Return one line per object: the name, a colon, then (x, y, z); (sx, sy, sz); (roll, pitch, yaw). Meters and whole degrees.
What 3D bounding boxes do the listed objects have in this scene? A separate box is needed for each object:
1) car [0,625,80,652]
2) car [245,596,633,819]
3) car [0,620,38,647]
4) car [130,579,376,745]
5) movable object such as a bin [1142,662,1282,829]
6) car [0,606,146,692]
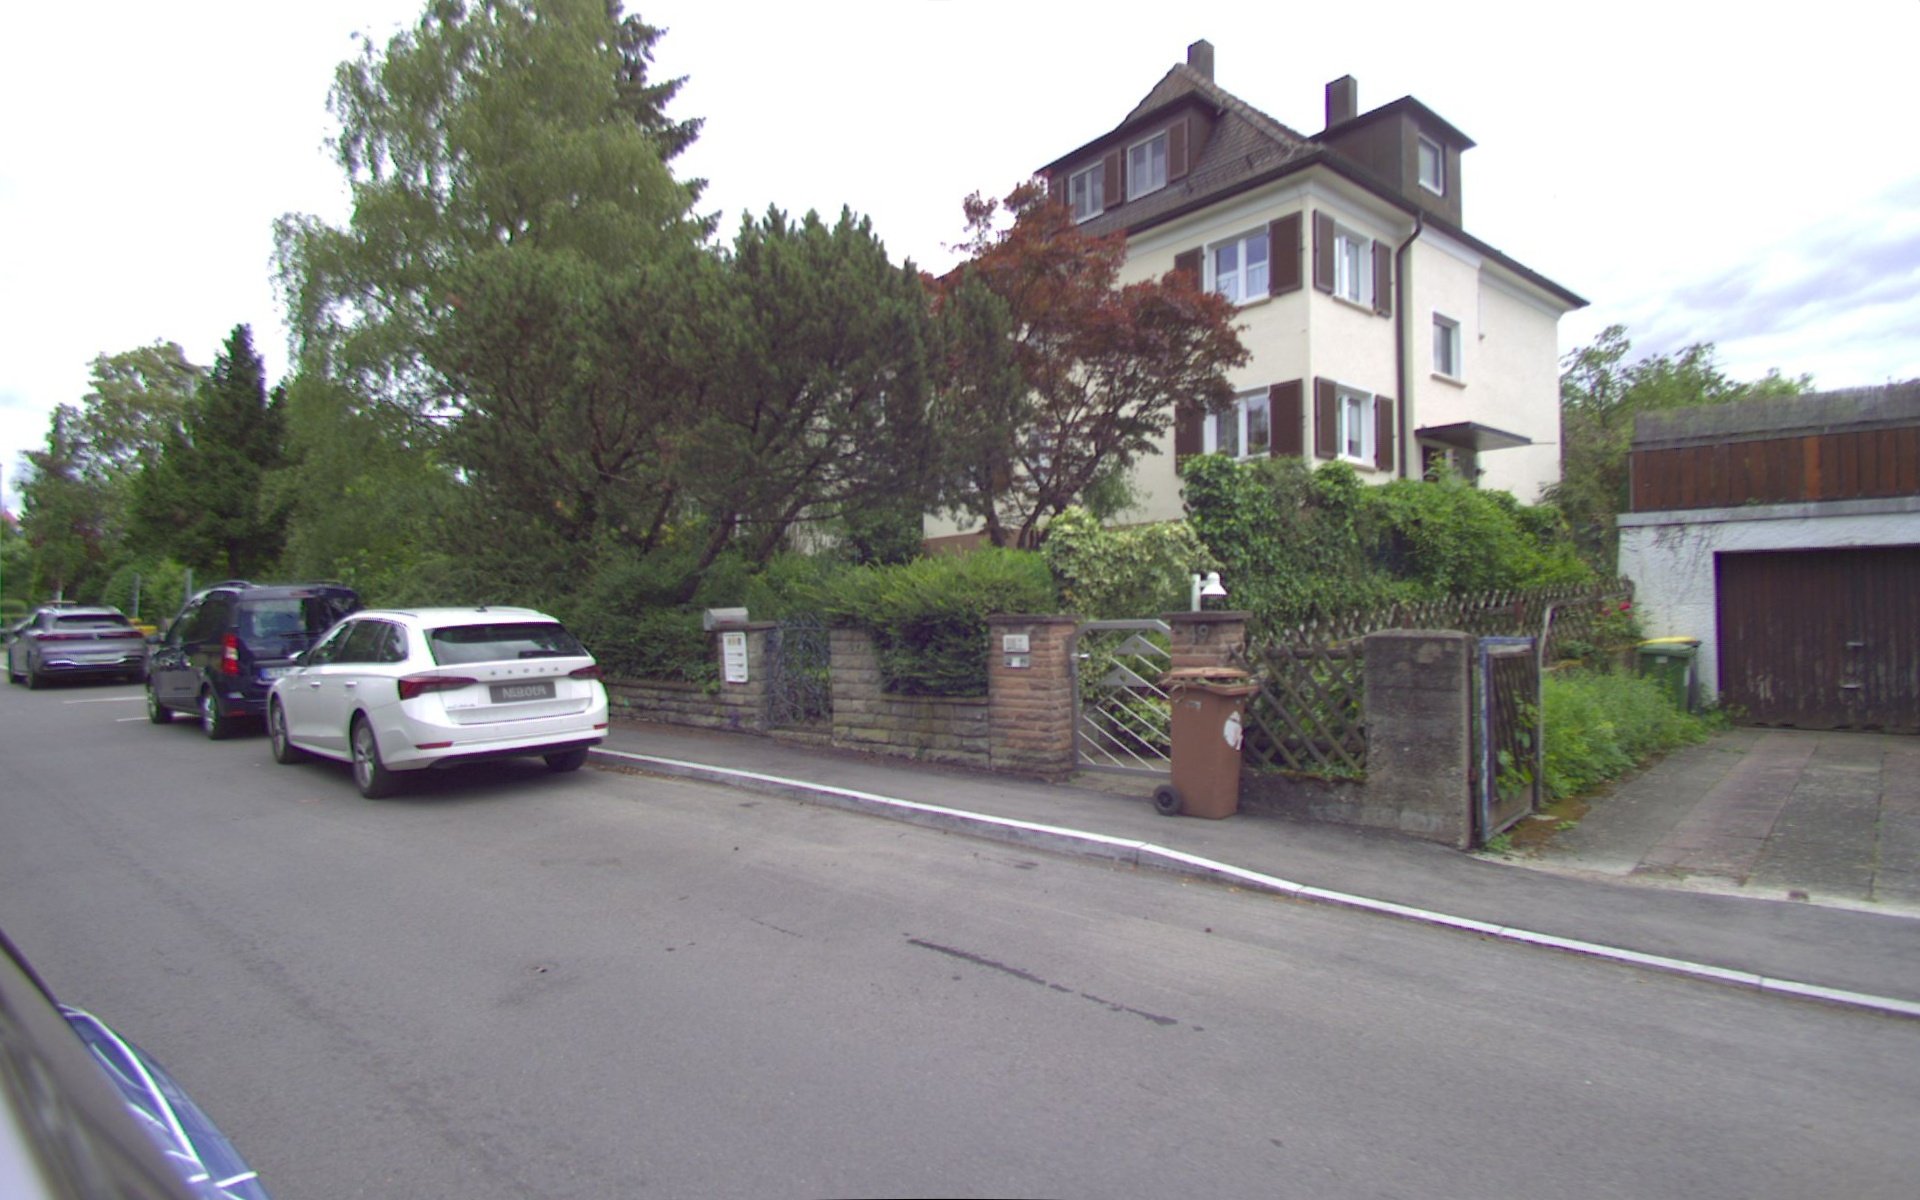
car: (-49.473, 2.041, 53.931); (1.640, 1.324, 3.724); (-1, -1, 42)
car: (-4.887, 0.777, 9.148); (4.554, 1.523, 1.688); (-1, -1, 43)
car: (-57.662, 2.017, 60.521); (3.720, 1.602, 1.642); (-1, -1, -43)
car: (-9.243, 0.708, 13.093); (4.297, 1.813, 1.689); (-1, -1, 42)
movable object such as a bin: (1.608, 0.893, 6.458); (0.654, 0.939, 0.605); (-1, 0, 41)
car: (-19.084, 0.986, 21.671); (4.728, 1.619, 1.777); (-1, -1, 41)
